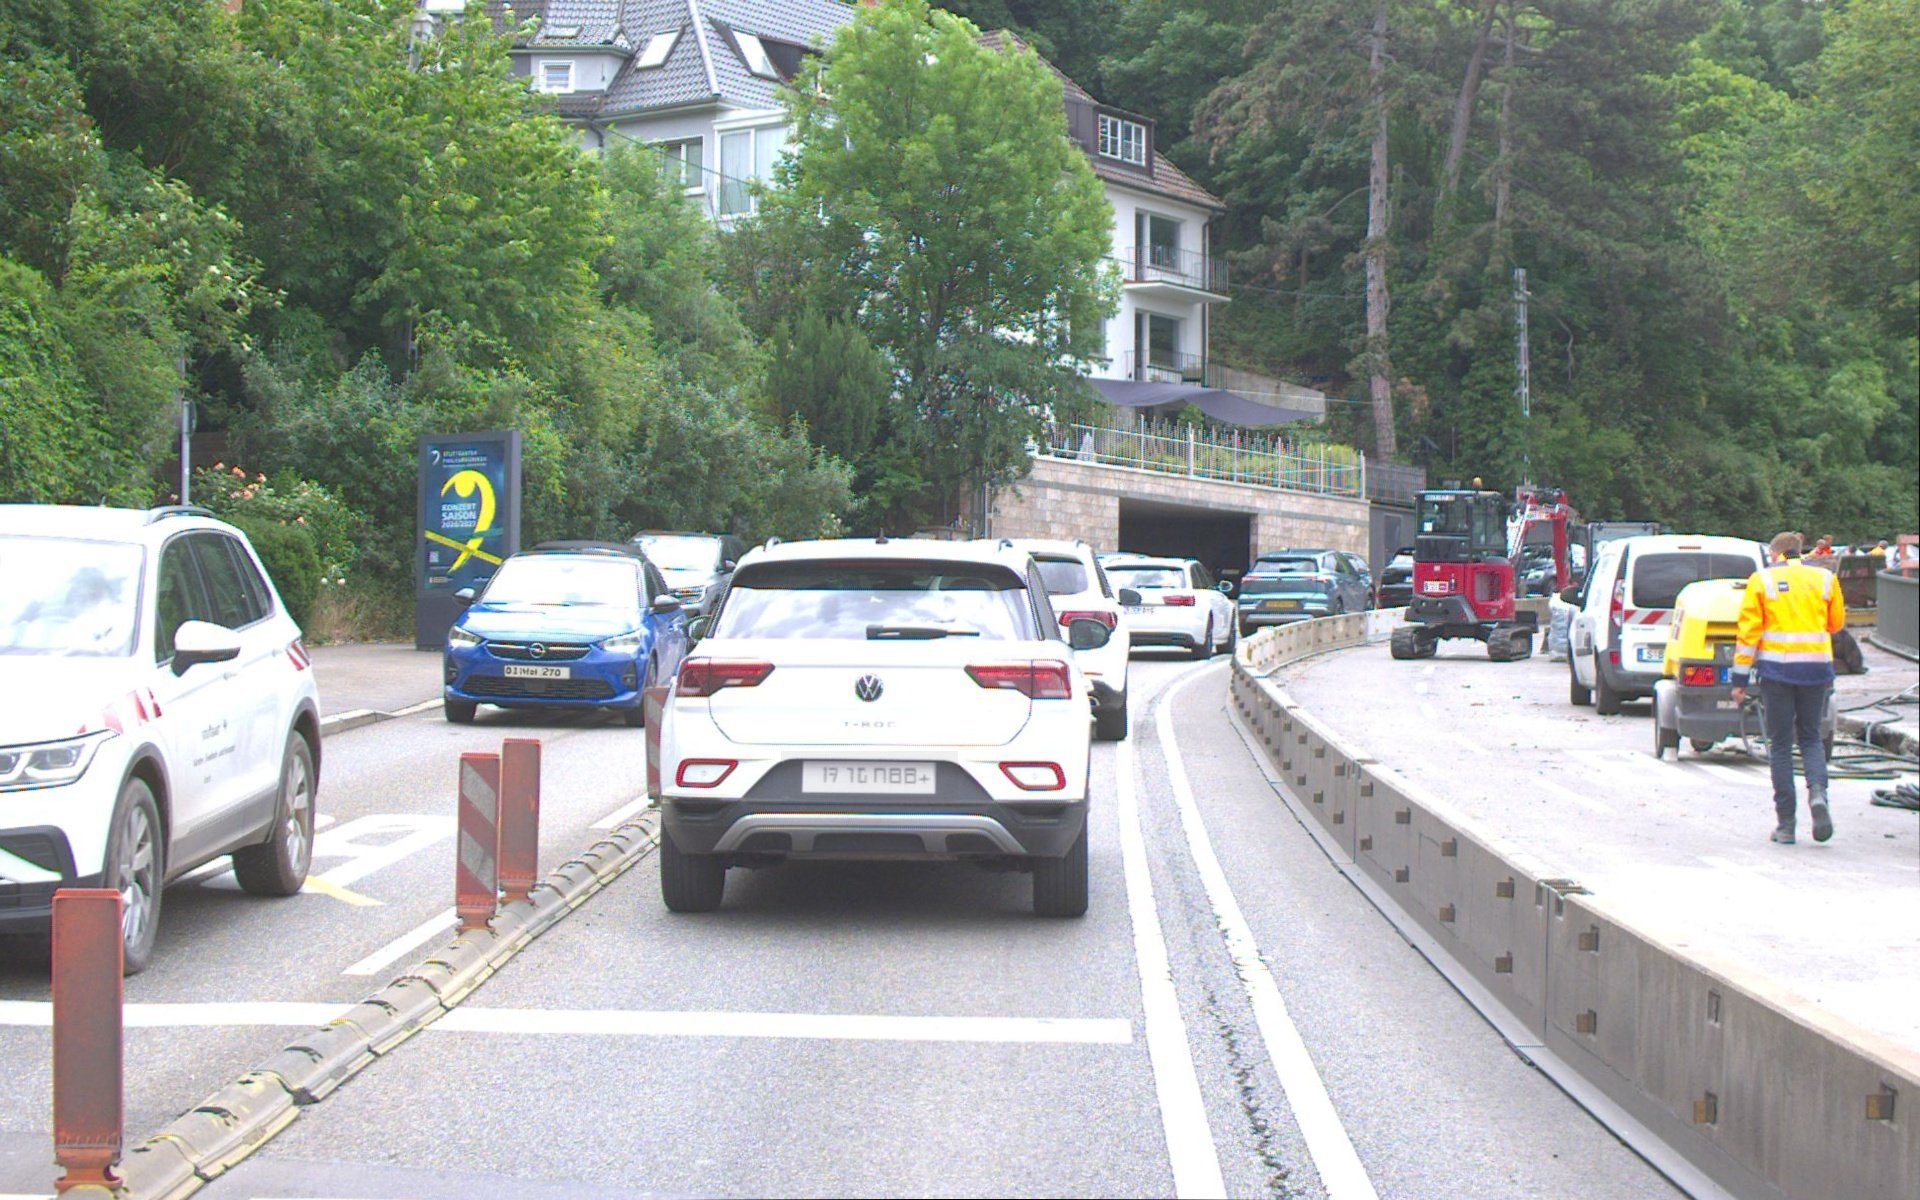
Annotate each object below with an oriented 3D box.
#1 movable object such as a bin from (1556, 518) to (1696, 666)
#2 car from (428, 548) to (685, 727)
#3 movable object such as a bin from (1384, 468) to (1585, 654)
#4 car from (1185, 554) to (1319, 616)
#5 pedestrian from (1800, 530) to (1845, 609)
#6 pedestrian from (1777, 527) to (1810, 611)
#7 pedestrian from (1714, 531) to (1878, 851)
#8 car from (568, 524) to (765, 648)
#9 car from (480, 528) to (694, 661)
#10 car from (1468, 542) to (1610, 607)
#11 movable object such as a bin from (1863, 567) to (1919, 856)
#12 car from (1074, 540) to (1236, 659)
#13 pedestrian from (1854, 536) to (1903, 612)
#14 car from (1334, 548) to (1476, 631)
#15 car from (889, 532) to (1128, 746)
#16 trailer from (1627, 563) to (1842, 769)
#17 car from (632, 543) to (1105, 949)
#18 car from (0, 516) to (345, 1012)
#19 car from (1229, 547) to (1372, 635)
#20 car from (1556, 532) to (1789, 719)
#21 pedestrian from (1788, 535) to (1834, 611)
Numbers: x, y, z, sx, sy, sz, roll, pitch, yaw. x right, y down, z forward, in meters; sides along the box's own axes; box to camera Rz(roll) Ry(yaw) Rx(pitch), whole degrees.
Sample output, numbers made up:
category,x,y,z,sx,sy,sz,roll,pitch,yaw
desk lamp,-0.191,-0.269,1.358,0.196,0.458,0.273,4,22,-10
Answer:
category,x,y,z,sx,sy,sz,roll,pitch,yaw
movable object such as a bin,9.163,-0.153,47.500,1.702,1.936,4.163,1,1,9
car,-3.399,0.272,29.554,1.726,1.415,3.821,1,1,0
movable object such as a bin,8.003,-0.617,52.072,2.214,2.653,4.940,1,1,18
car,7.446,-0.368,87.526,1.785,1.448,3.695,2,0,34
pedestrian,19.925,-0.707,79.372,0.877,1.816,0.877,0,1,23
pedestrian,18.820,-0.706,77.627,0.690,1.900,0.825,0,1,11
pedestrian,4.567,0.480,18.827,0.645,1.696,0.850,2,1,1
car,-4.096,-0.222,48.695,1.687,1.600,4.185,3,1,10
car,-4.653,-0.097,43.440,1.795,1.505,3.999,3,1,6
car,14.694,-0.657,87.057,1.771,1.562,4.220,2,2,37
movable object such as a bin,6.443,0.670,16.187,2.374,1.556,7.100,1,1,-1
car,2.894,-0.039,50.347,1.810,1.657,3.998,-1,1,11
pedestrian,20.393,-0.585,76.327,0.784,1.682,0.783,1,1,39
car,9.356,-0.245,72.043,1.812,1.657,3.995,0,1,25
car,0.473,0.270,28.882,1.810,1.657,4.000,-1,1,3
trailer,6.096,0.469,27.310,1.289,1.470,3.633,1,1,7
car,-0.305,0.534,15.357,1.810,1.526,4.000,1,1,2
car,-3.704,0.479,13.202,1.842,1.594,4.263,1,1,1
car,6.186,-0.188,62.080,1.796,1.505,3.997,0,1,17
car,7.230,0.200,35.244,1.833,1.773,4.268,1,1,5
pedestrian,19.452,-0.630,78.577,0.877,1.725,0.877,0,1,23
